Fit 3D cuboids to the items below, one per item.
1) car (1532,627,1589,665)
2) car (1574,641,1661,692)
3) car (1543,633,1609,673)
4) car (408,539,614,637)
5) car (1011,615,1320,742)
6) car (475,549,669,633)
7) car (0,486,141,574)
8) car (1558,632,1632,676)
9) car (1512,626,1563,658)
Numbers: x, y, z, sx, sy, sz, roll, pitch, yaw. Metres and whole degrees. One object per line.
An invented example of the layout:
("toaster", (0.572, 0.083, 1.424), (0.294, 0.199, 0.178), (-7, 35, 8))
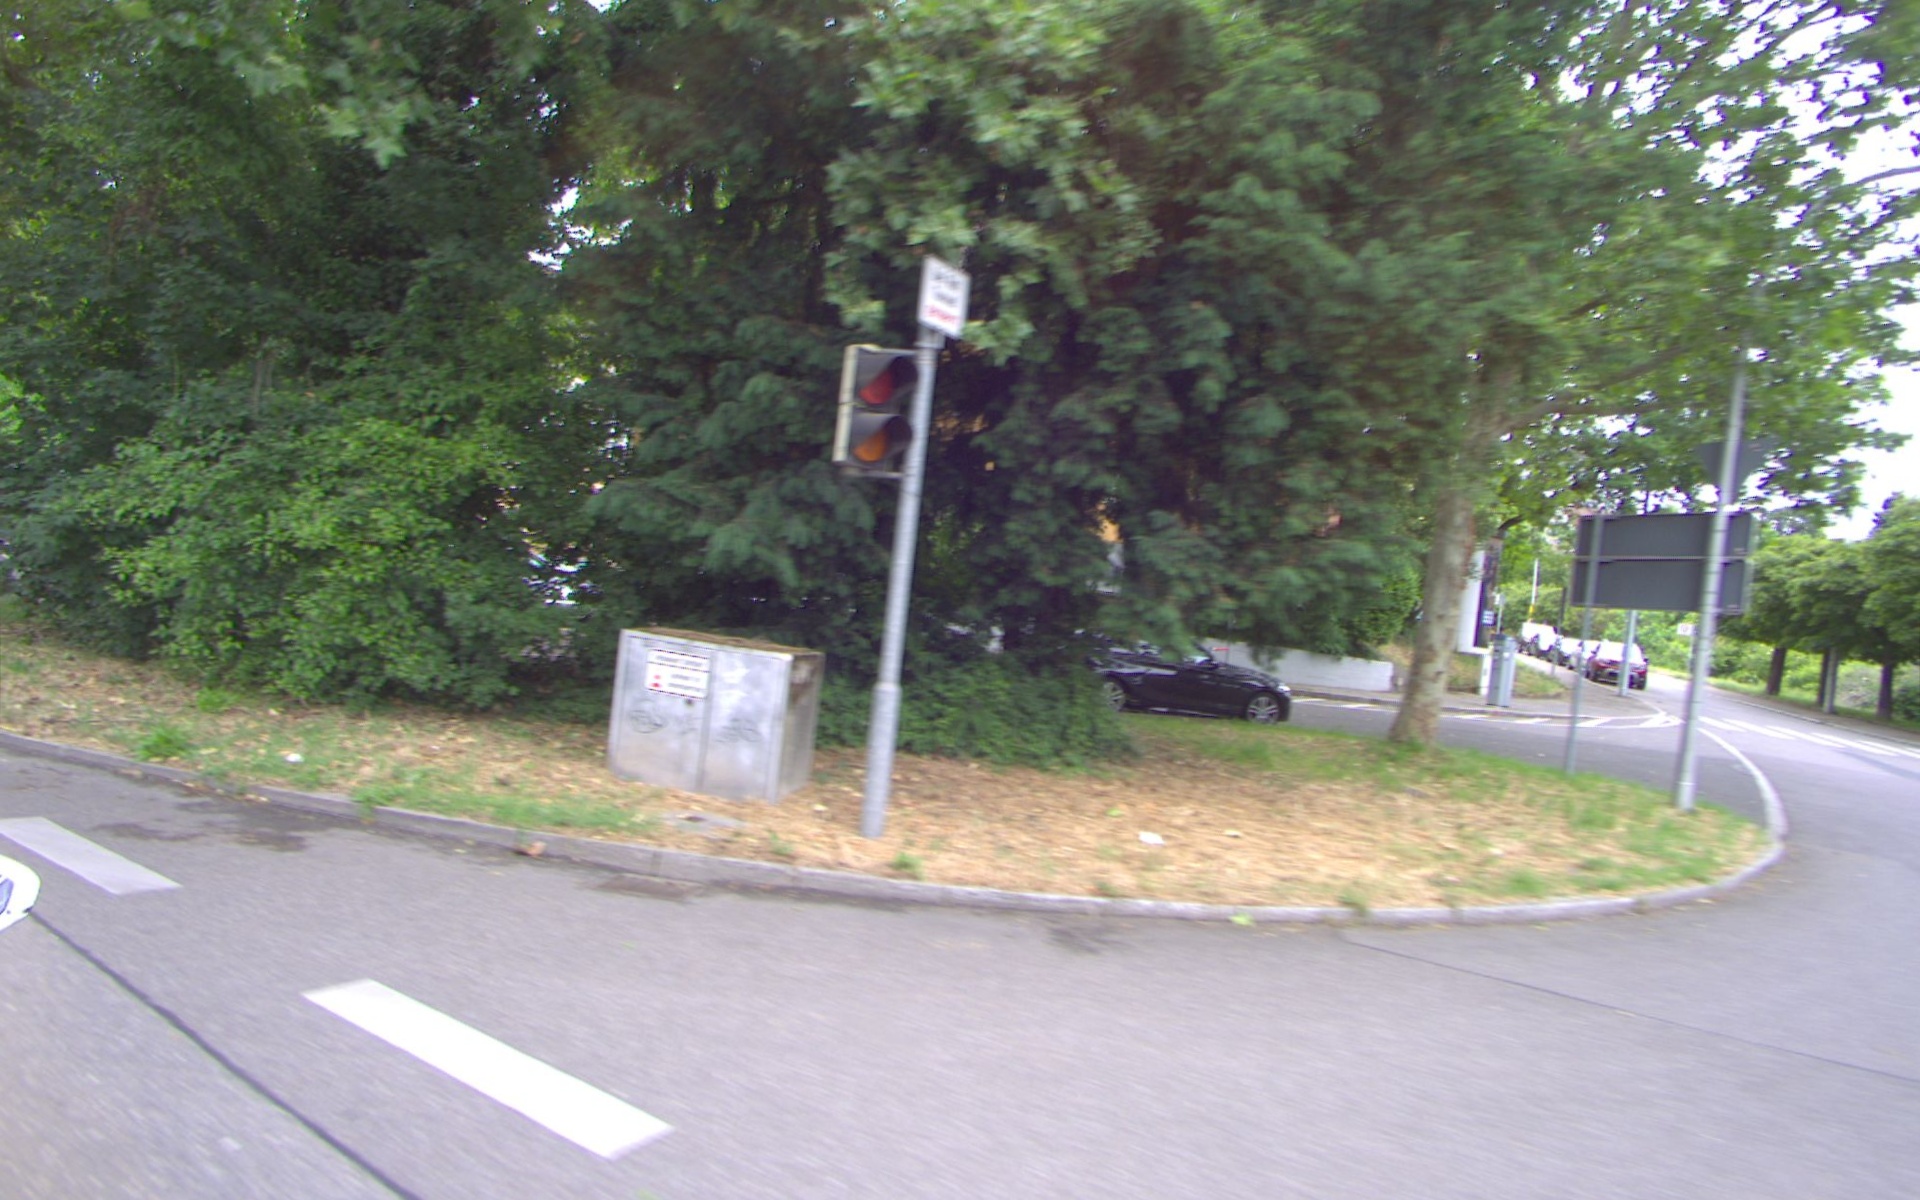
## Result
("car", (32.725, 2.522, 54.942), (1.964, 1.705, 3.996), (10, 2, 24))
("car", (25.781, 2.561, 39.601), (1.914, 1.606, 3.998), (9, 1, 22))
("car", (30.399, 2.594, 49.764), (1.914, 1.606, 3.998), (9, 1, 22))
("car", (-9.513, -0.263, 21.257), (4.058, 1.590, 1.734), (7, 2, 27))
("car", (3.207, 1.237, 16.041), (4.353, 1.506, 1.855), (4, 4, -14))
("car", (-8.993, -0.221, 23.281), (4.055, 1.447, 1.735), (7, 2, 24))
("car", (-21.232, -1.690, 23.890), (4.525, 1.577, 1.784), (8, 1, 39))
("car", (28.404, 2.408, 45.135), (1.914, 1.606, 3.998), (9, 1, 22))
("car", (34.698, 2.534, 60.567), (1.914, 1.606, 3.998), (9, 1, 22))
